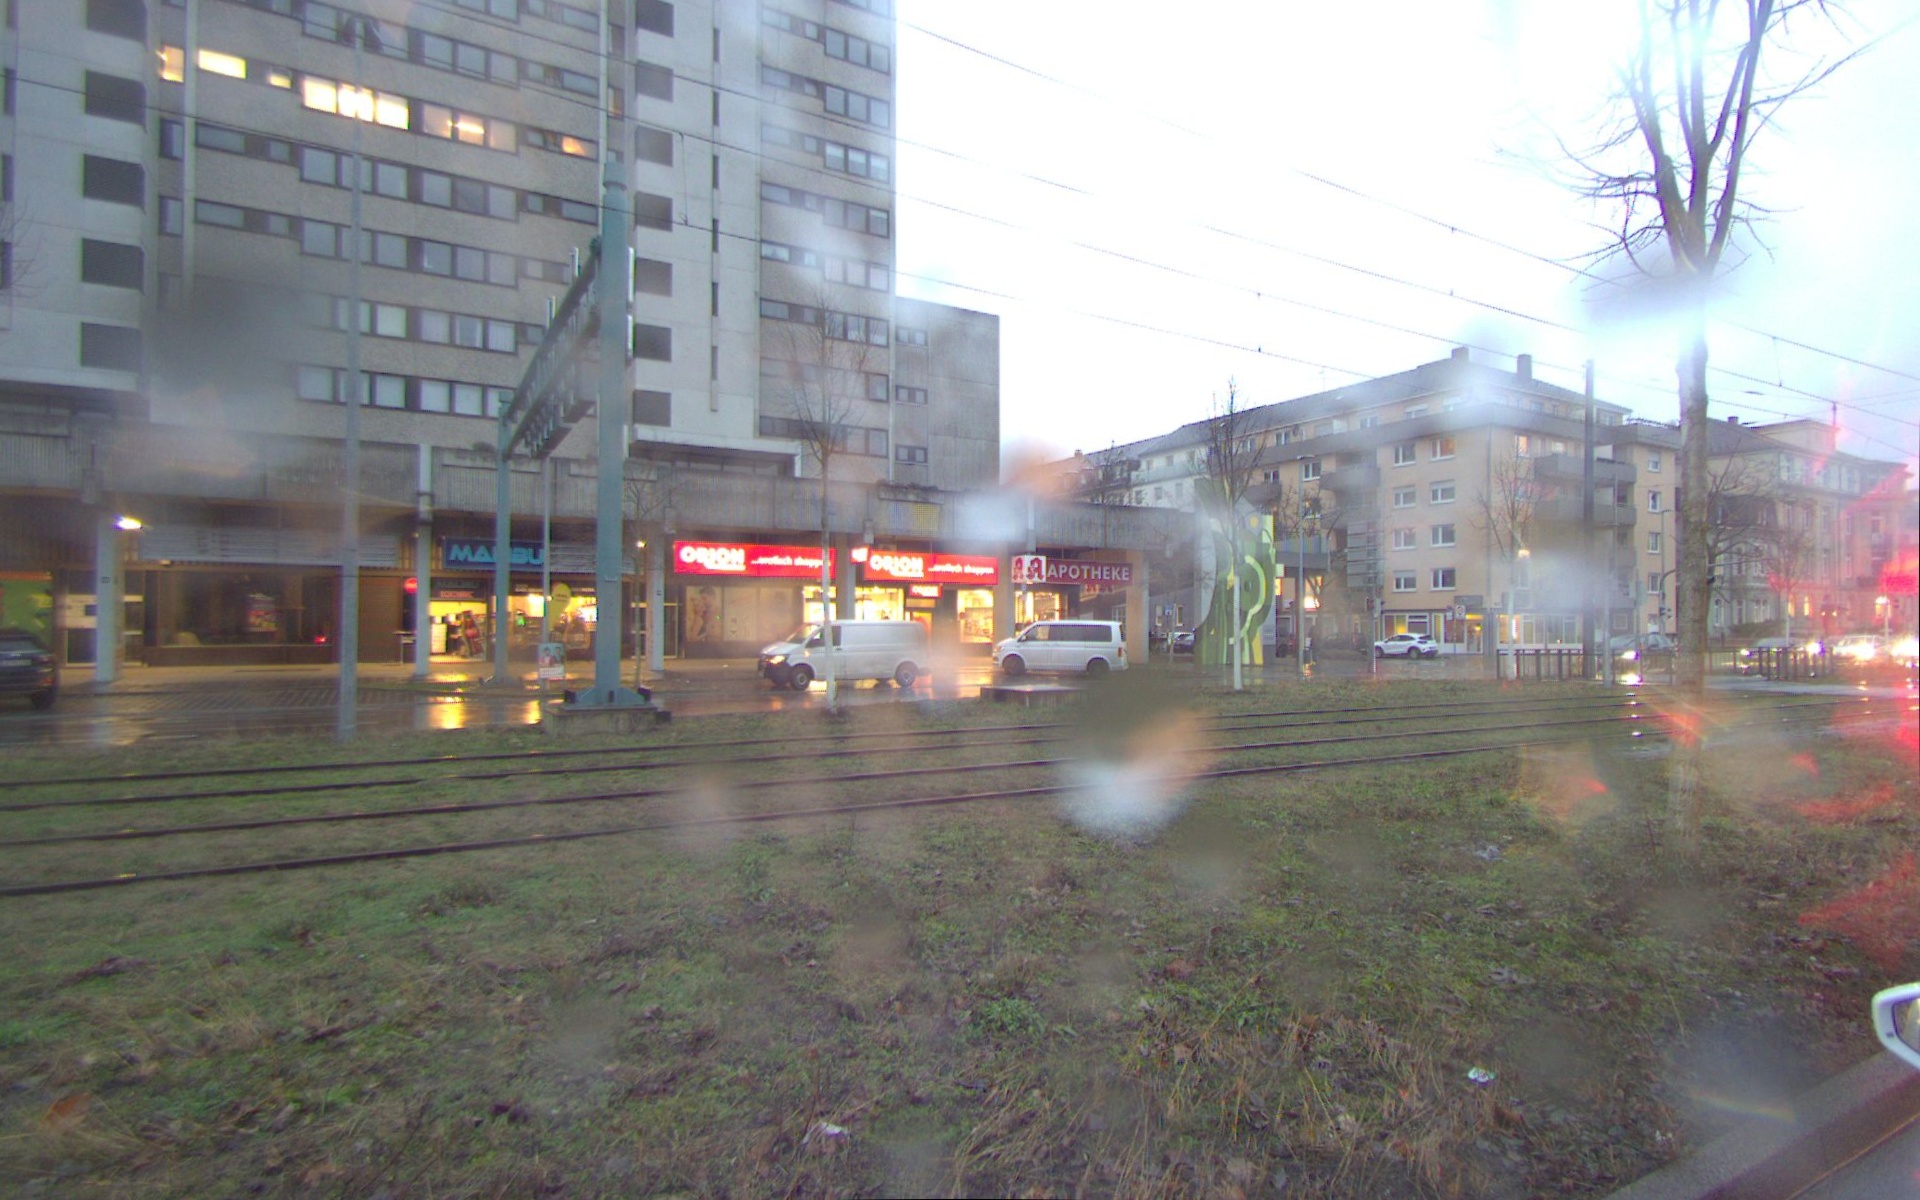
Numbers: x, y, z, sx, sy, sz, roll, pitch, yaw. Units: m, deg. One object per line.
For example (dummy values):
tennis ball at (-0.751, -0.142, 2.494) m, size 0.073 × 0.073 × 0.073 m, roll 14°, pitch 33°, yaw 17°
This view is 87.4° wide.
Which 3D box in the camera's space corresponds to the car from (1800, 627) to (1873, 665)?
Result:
car at (50.343, 2.606, 57.683) m, size 3.953 × 2.040 × 1.984 m, roll 2°, pitch 0°, yaw -31°

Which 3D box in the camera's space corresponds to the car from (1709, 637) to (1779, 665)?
car at (39.224, 2.523, 50.230) m, size 3.496 × 1.294 × 1.682 m, roll 1°, pitch -1°, yaw -32°

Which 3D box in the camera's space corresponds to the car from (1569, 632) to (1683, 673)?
car at (24.886, 1.938, 37.530) m, size 4.265 × 1.350 × 1.850 m, roll 2°, pitch 0°, yaw -30°

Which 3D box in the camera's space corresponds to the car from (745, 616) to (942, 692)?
car at (-3.459, 1.581, 30.007) m, size 5.490 × 2.073 × 1.987 m, roll 2°, pitch 0°, yaw -26°

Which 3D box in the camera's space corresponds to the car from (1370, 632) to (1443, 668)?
car at (27.820, 3.079, 62.659) m, size 1.825 × 1.968 × 3.720 m, roll 1°, pitch 0°, yaw -37°

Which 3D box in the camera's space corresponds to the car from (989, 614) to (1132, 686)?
car at (3.580, 1.702, 35.543) m, size 4.734 × 2.274 × 2.001 m, roll 2°, pitch 0°, yaw 15°

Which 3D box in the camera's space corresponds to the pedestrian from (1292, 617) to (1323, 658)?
pedestrian at (17.639, 1.895, 51.015) m, size 1.253 × 2.040 × 1.004 m, roll -1°, pitch -1°, yaw 37°

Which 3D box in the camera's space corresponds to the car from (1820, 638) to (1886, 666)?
car at (44.574, 2.569, 50.120) m, size 4.108 × 1.294 × 1.679 m, roll 2°, pitch -2°, yaw -36°

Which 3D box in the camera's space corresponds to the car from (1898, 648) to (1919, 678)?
car at (54.947, 3.548, 56.744) m, size 3.953 × 1.598 × 1.858 m, roll 1°, pitch -1°, yaw -30°

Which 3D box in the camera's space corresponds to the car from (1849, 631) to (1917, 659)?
car at (56.852, 2.767, 61.852) m, size 3.952 × 1.623 × 1.941 m, roll 2°, pitch 0°, yaw -30°

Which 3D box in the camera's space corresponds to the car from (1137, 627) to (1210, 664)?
car at (12.376, 2.619, 58.177) m, size 3.830 × 2.040 × 1.884 m, roll 2°, pitch 0°, yaw -31°

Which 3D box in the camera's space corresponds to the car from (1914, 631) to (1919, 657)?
car at (60.307, 2.731, 61.316) m, size 3.952 × 1.623 × 1.941 m, roll 2°, pitch 0°, yaw -30°

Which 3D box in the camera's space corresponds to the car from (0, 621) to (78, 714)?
car at (-20.786, 1.368, 21.189) m, size 4.067 × 1.715 × 1.982 m, roll 2°, pitch 0°, yaw 28°

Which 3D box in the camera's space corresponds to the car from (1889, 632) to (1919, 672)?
car at (40.749, 2.182, 41.823) m, size 3.954 × 1.623 × 1.983 m, roll 2°, pitch 0°, yaw -31°
